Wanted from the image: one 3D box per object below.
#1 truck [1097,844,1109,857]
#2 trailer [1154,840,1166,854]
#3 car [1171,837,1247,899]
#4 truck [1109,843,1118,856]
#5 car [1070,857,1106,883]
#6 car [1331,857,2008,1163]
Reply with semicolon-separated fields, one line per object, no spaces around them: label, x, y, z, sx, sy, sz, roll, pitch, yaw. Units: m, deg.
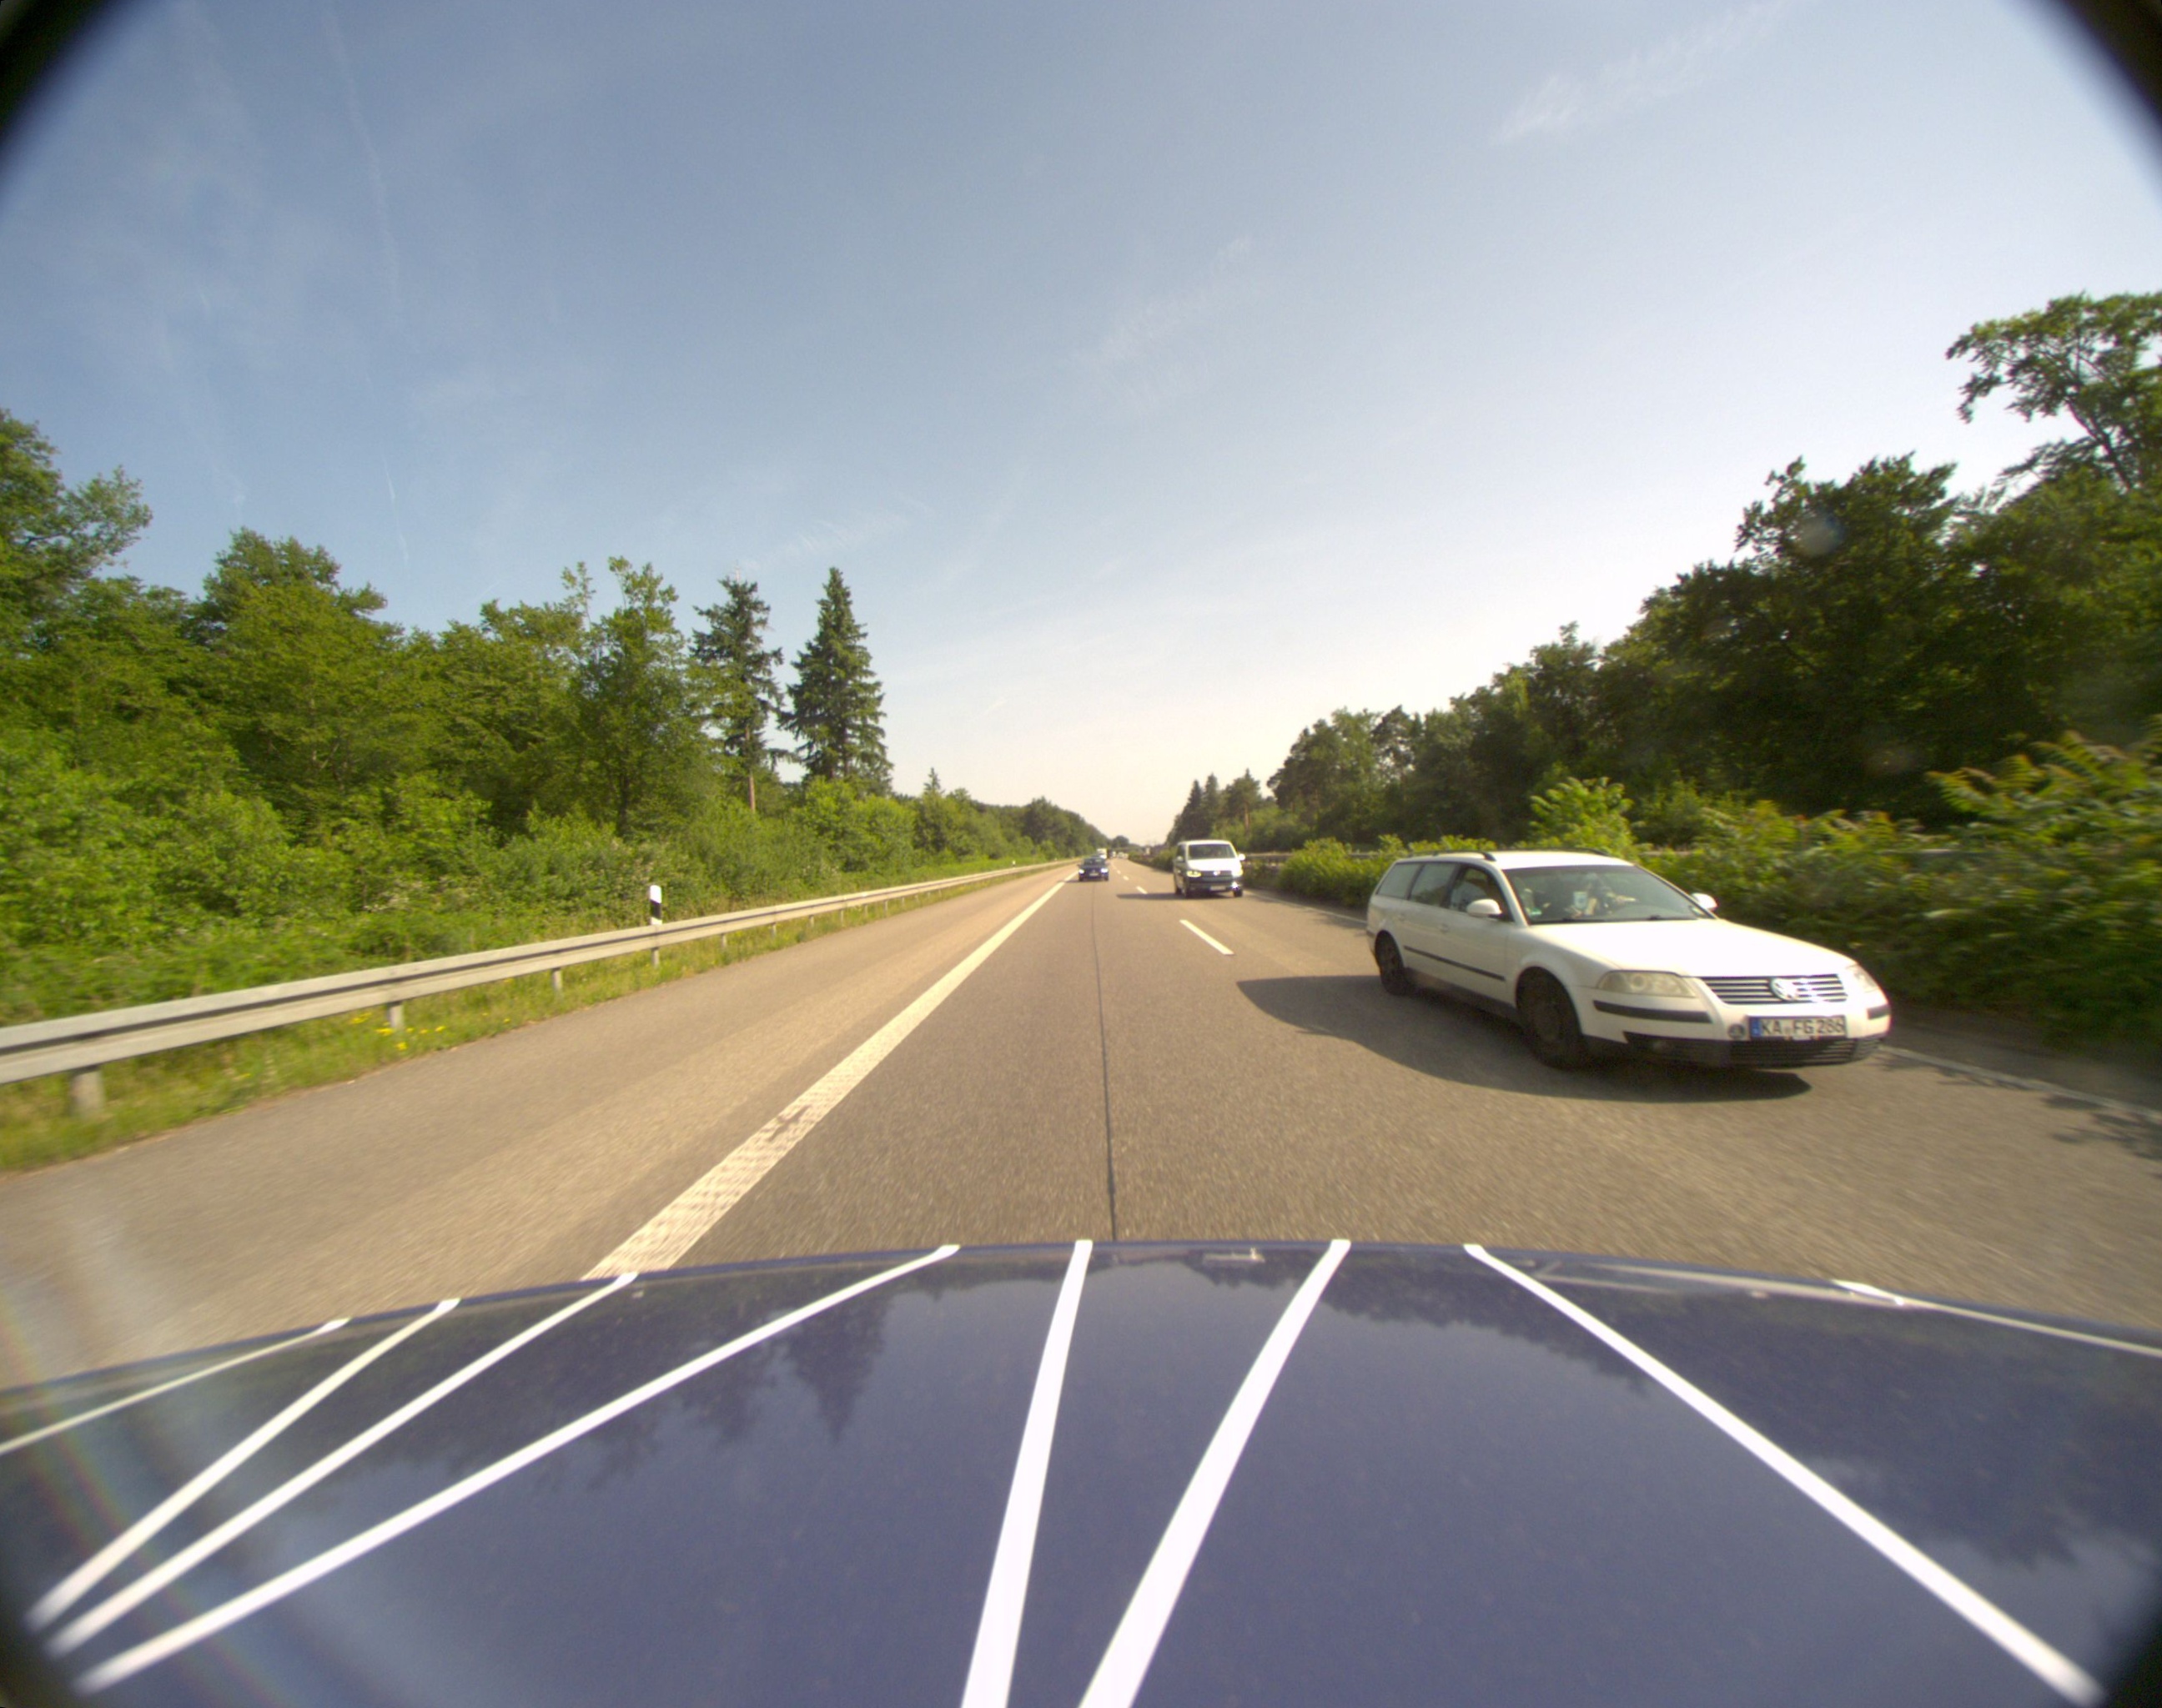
truck;5.671;-0.836;193.736;2.694;3.020;10.373;-2;0;2
trailer;24.469;-2.283;235.481;2.839;4.184;12.411;-1;0;1
car;4.379;0.437;26.600;1.912;1.934;4.706;-2;0;1
truck;10.844;-1.589;254.409;2.694;4.061;12.366;-2;0;2
car;0.441;0.895;43.553;1.788;1.285;3.539;-2;0;3
car;3.918;0.819;6.566;1.754;1.477;5.263;-2;0;0
